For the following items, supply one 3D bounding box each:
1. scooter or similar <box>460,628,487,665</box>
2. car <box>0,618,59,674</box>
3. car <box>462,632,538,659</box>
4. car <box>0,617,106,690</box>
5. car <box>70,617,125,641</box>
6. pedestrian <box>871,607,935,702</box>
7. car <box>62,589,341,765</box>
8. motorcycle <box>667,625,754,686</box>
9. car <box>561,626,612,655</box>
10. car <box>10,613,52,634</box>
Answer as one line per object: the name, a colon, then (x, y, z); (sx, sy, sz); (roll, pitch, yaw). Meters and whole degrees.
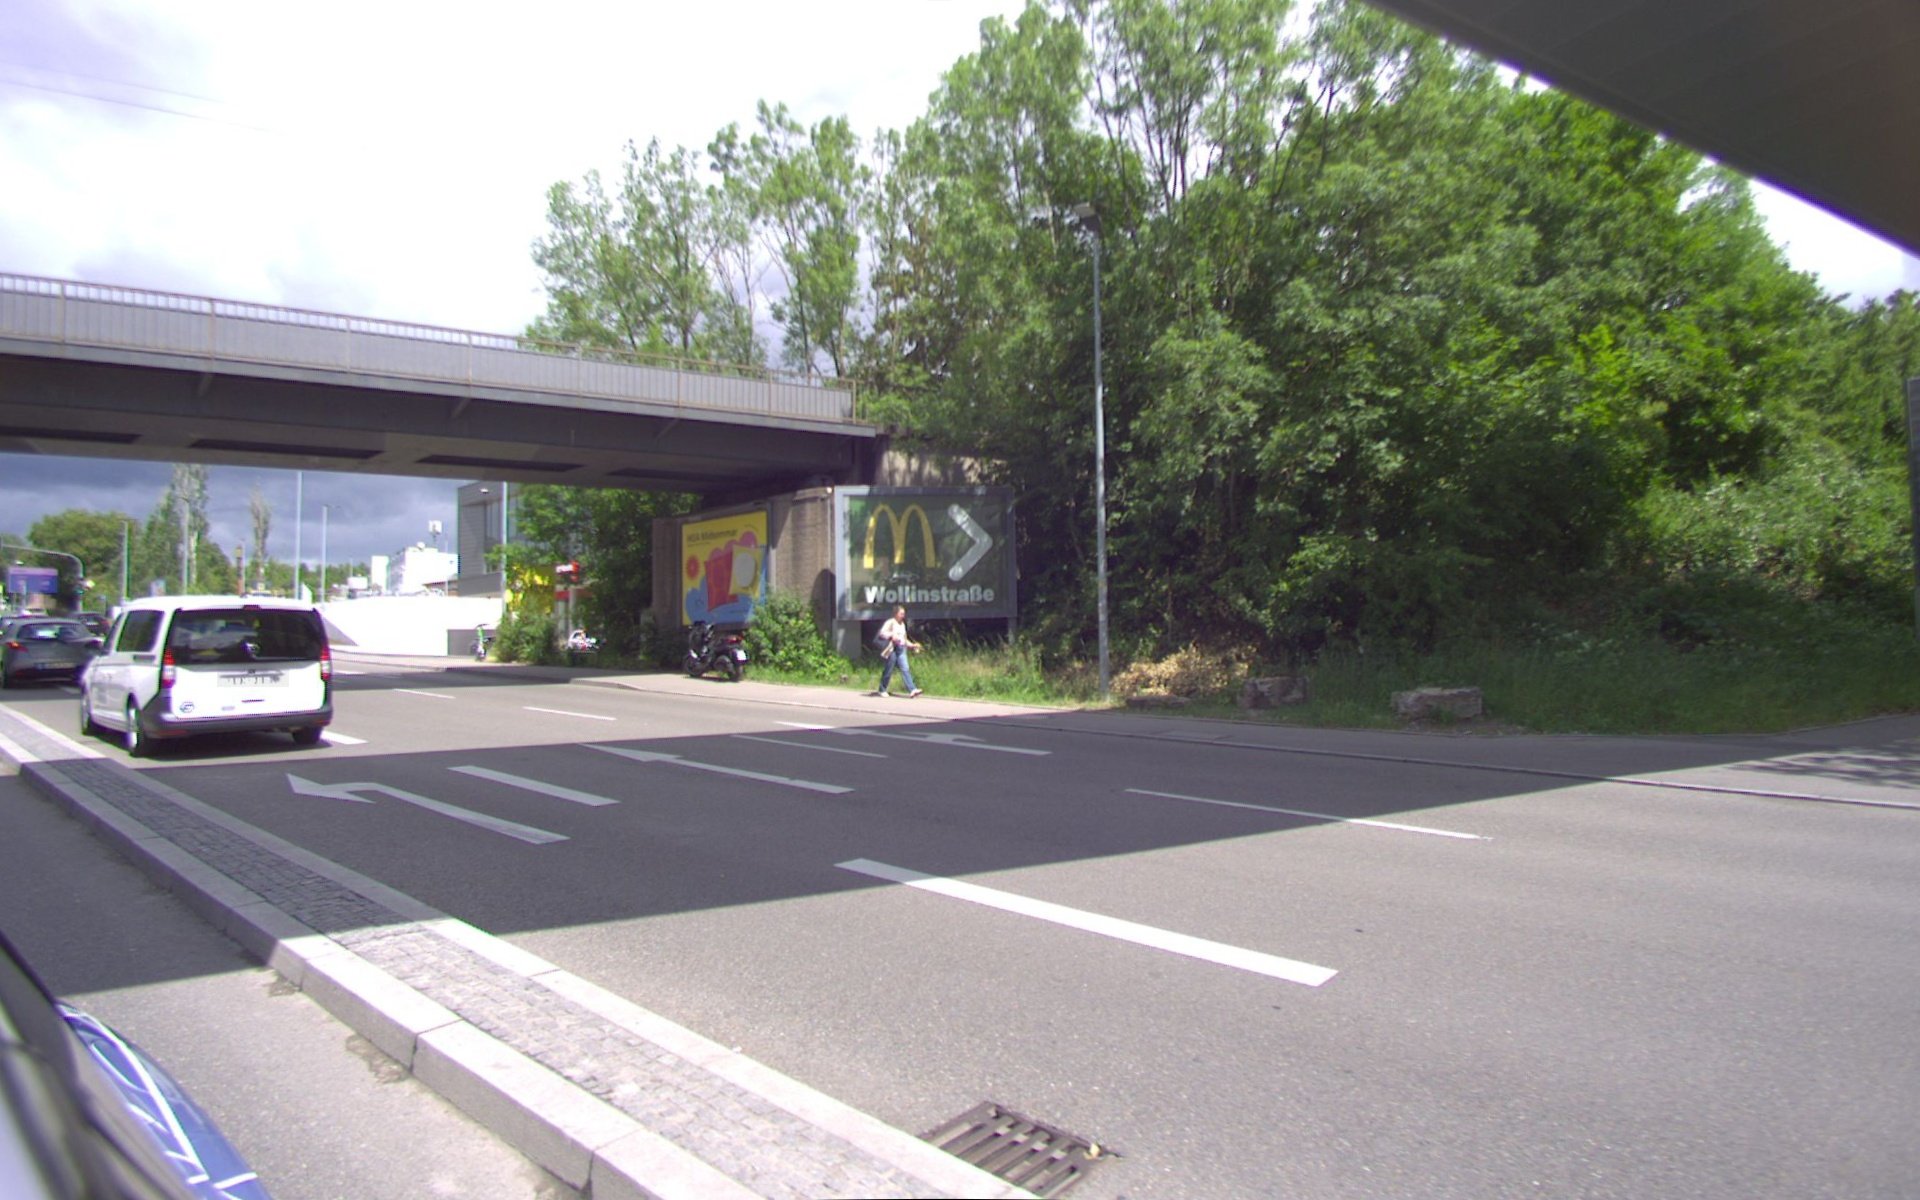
scooter or similar: (-15.191, 1.440, 31.590); (0.470, 1.129, 1.387); (2, -3, -37)
car: (-26.809, 1.256, 28.634); (3.113, 1.500, 1.491); (-1, -1, 39)
car: (-29.179, 2.896, 64.269); (1.957, 1.630, 3.947); (-1, -3, 39)
car: (-20.633, 1.142, 22.656); (3.982, 1.500, 1.691); (-1, -2, 41)
car: (-50.206, 1.678, 58.868); (4.000, 1.364, 1.972); (-1, -2, 43)
pedestrian: (-1.010, 0.951, 18.054); (0.813, 1.624, 0.760); (-1, 0, 41)
car: (-9.578, 0.833, 12.611); (4.975, 1.794, 1.789); (-1, -2, 41)
motorcycle: (-5.442, 1.179, 21.961); (2.256, 1.207, 0.633); (0, 1, 41)
car: (-21.204, 2.279, 57.444); (2.844, 1.595, 1.551); (-1, -3, 40)
car: (-68.587, 1.740, 74.715); (4.000, 1.498, 1.972); (-1, -2, 43)
